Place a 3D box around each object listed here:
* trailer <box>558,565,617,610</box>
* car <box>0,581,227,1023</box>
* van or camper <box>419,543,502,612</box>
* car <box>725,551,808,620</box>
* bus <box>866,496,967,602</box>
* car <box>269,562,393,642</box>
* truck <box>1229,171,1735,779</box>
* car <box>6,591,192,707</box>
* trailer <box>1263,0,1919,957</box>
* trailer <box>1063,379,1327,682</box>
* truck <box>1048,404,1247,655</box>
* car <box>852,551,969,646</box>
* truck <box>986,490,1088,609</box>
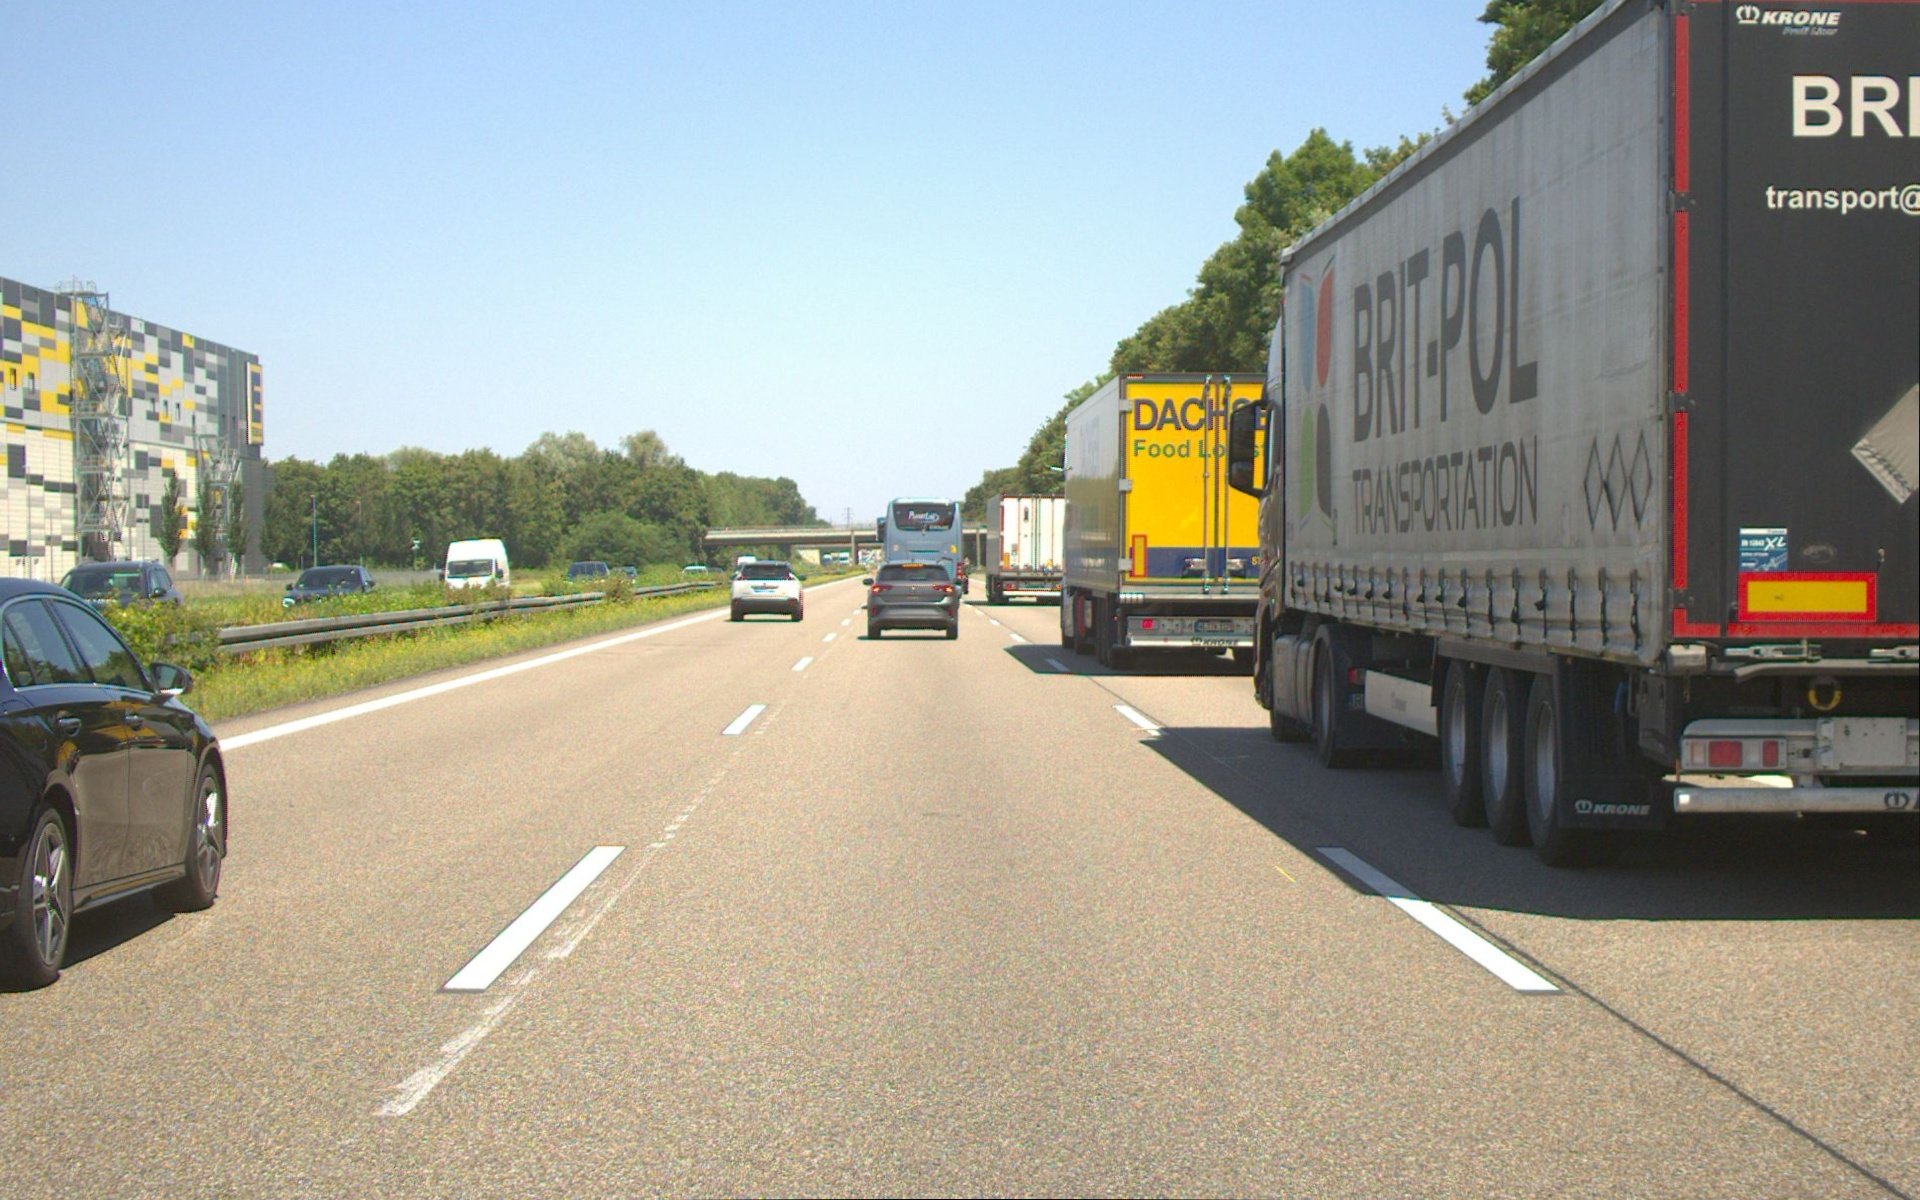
[{"bbox_3d":[-15.292,-0.521,141.376,1.993,1.752,4.857,-1,1,-1],"label":"trailer"},{"bbox_3d":[-4.052,0.646,12.982,1.792,1.407,4.053,0,1,-1],"label":"car"},{"bbox_3d":[-19.452,-0.863,134.242,2.421,2.525,6.177,-2,0,-2],"label":"van or camper"},{"bbox_3d":[-4.926,-0.382,87.914,1.993,1.722,4.131,0,1,-2],"label":"car"},{"bbox_3d":[-1.505,-1.673,114.319,3.062,3.315,8.275,-1,1,-2],"label":"bus"},{"bbox_3d":[-14.666,0.015,80.428,2.028,1.772,4.842,-1,1,-1],"label":"car"},{"bbox_3d":[4.064,-0.925,28.206,3.087,4.426,6.053,0,0,-1],"label":"truck"},{"bbox_3d":[-13.989,0.765,56.088,1.869,1.736,4.722,-1,1,-1],"label":"car"},{"bbox_3d":[4.172,-0.895,20.955,3.106,4.491,14.897,0,0,-1],"label":"trailer"},{"bbox_3d":[3.236,-0.981,50.551,2.834,3.940,11.684,0,1,-1],"label":"trailer"},{"bbox_3d":[3.075,-1.162,58.121,2.813,3.993,6.645,0,1,-1],"label":"truck"},{"bbox_3d":[-1.001,-0.058,68.561,2.216,1.784,5.393,-1,1,-1],"label":"car"},{"bbox_3d":[2.743,-1.832,125.921,3.422,4.112,9.564,-1,1,0],"label":"truck"}]
